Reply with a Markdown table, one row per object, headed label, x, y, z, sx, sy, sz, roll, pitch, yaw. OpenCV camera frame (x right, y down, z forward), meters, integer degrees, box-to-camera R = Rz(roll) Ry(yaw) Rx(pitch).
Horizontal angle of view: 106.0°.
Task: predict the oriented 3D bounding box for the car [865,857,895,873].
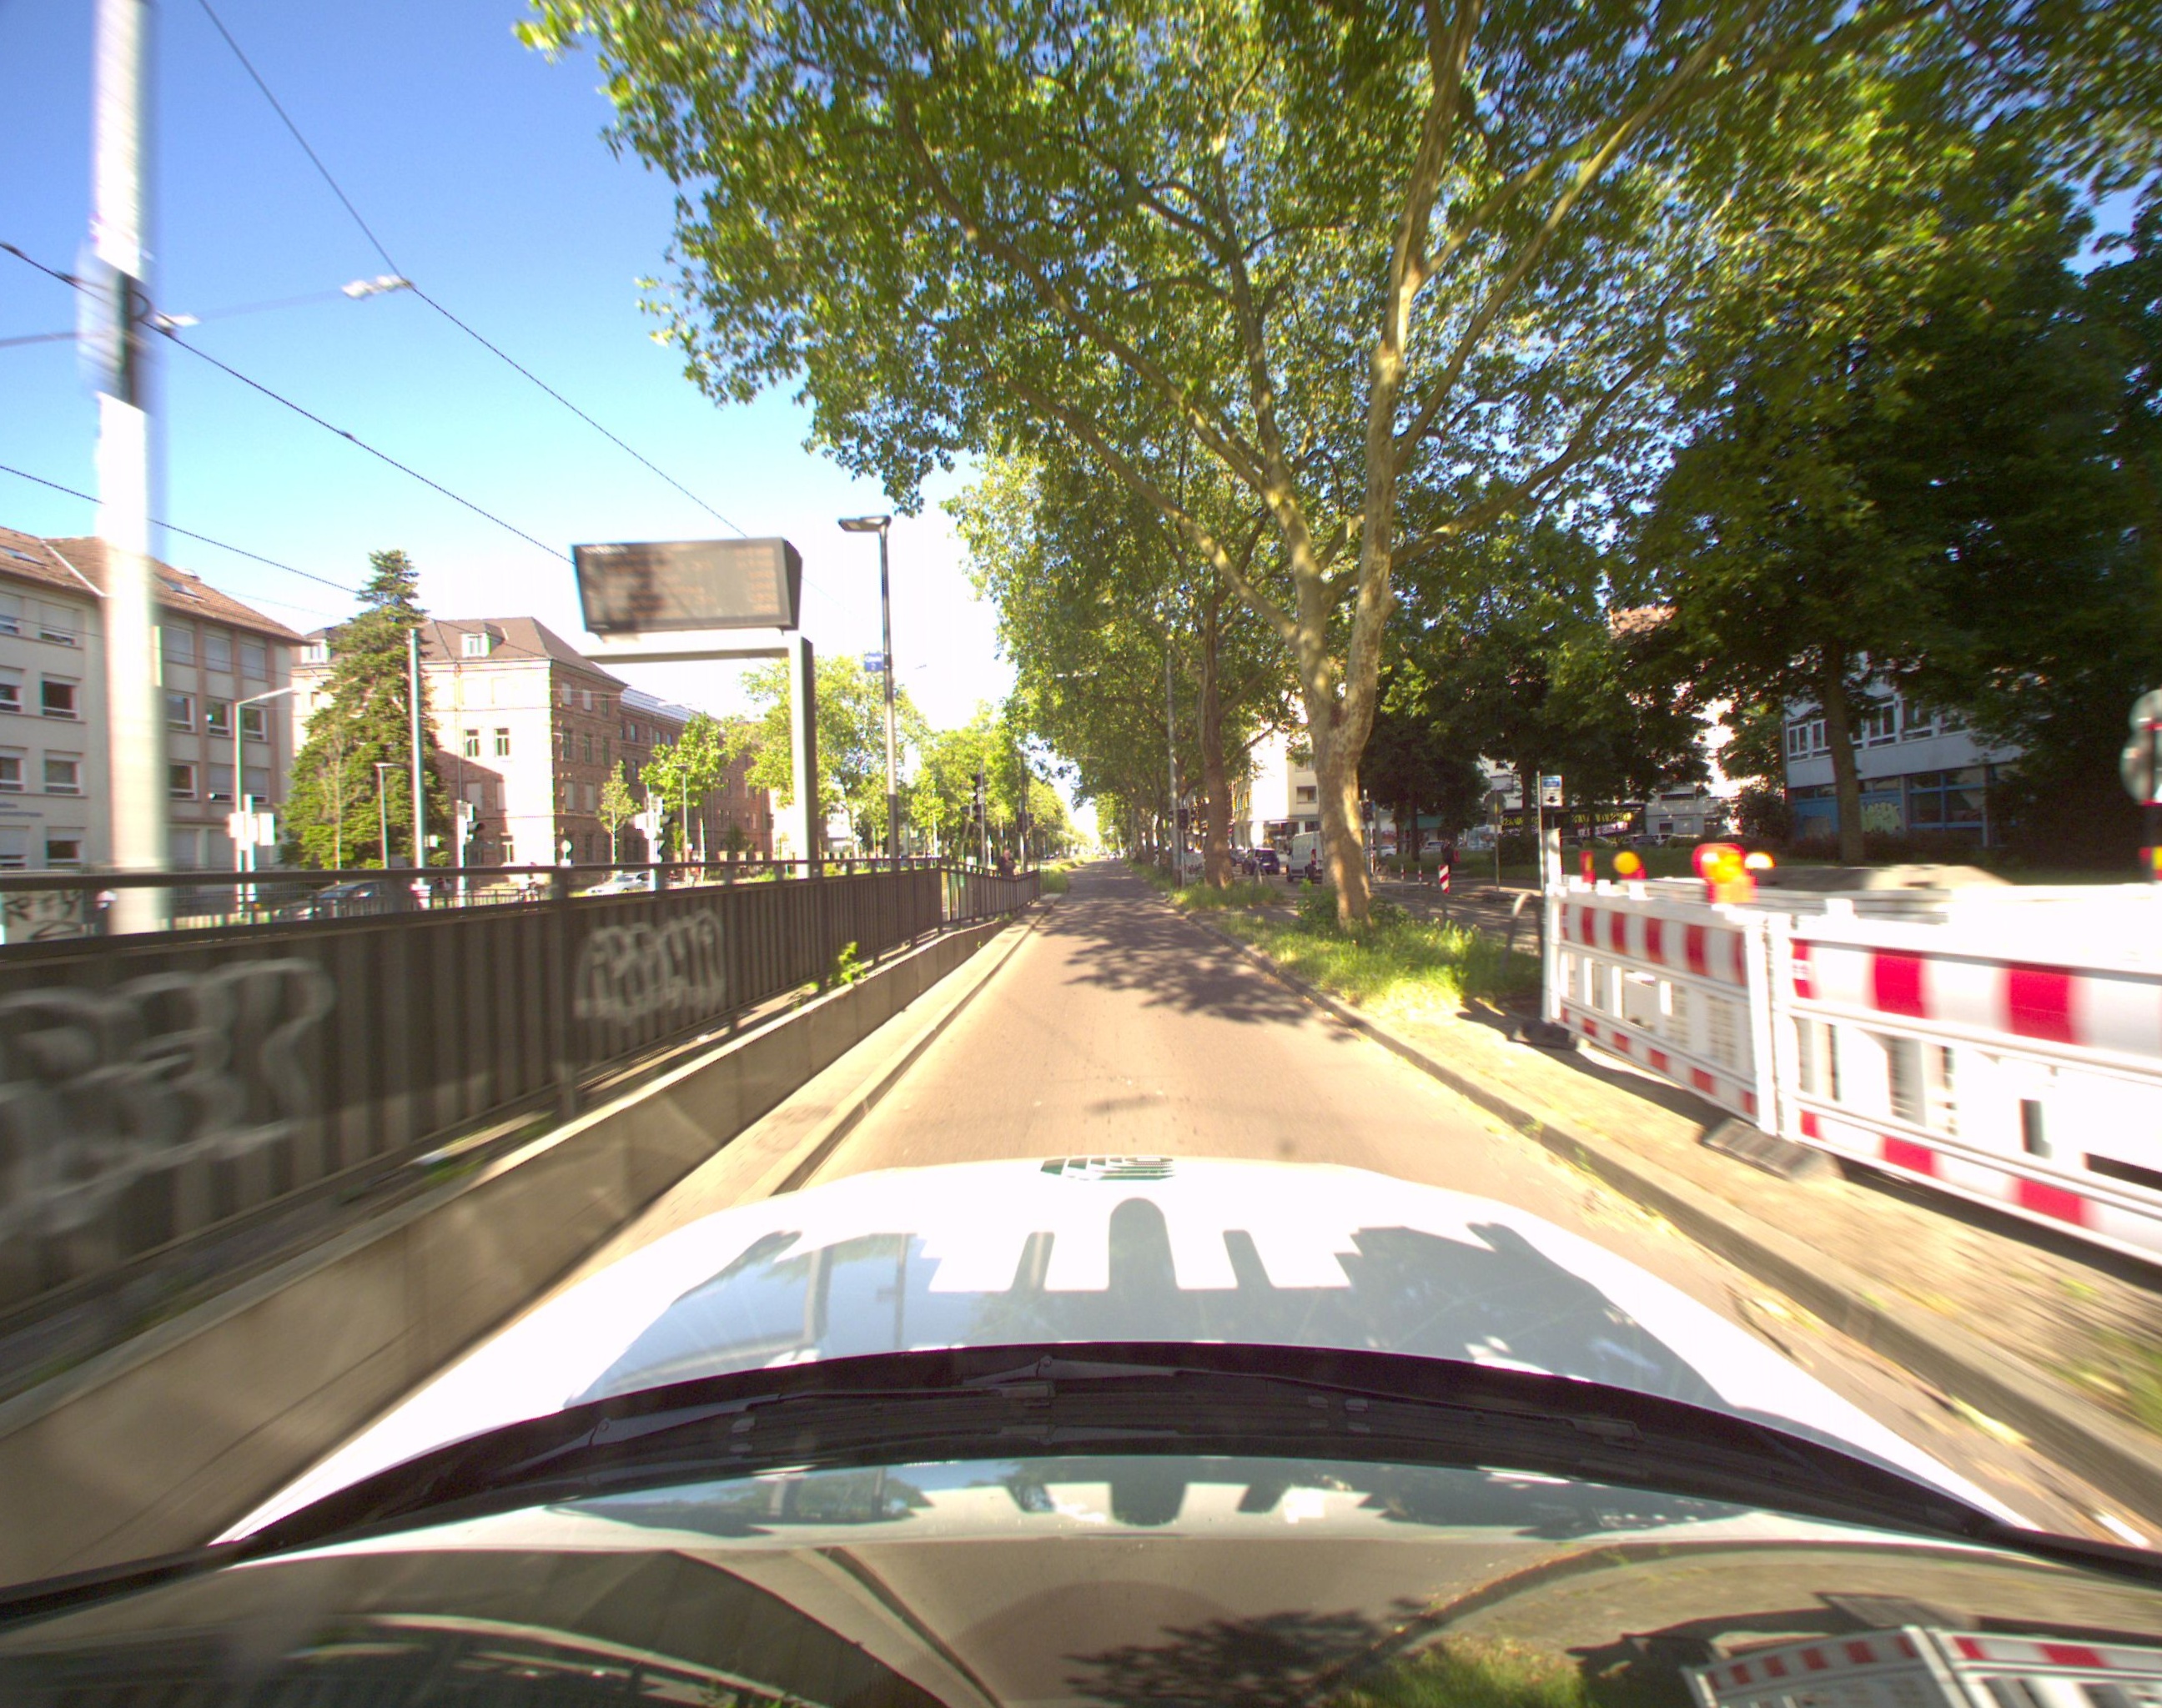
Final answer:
| label | x | y | z | sx | sy | sz | roll | pitch | yaw |
| --- | --- | --- | --- | --- | --- | --- | --- | --- | --- |
| car | -23.309 | 1.223 | 94.533 | 1.985 | 1.649 | 4.830 | -2 | 1 | 2 |

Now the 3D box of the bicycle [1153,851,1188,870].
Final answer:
| label | x | y | z | sx | sy | sz | roll | pitch | yaw |
| --- | --- | --- | --- | --- | --- | --- | --- | --- | --- |
| bicycle | 5.611 | 0.419 | 51.075 | 2.063 | 1.124 | 0.677 | -2 | 0 | 0 |

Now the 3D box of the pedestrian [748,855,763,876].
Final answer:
| label | x | y | z | sx | sy | sz | roll | pitch | yaw |
| --- | --- | --- | --- | --- | --- | --- | --- | --- | --- |
| pedestrian | -30.468 | 1.051 | 76.278 | 0.897 | 1.899 | 0.943 | -2 | 0 | 3 |

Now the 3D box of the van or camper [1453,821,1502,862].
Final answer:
| label | x | y | z | sx | sy | sz | roll | pitch | yaw |
| --- | --- | --- | --- | --- | --- | --- | --- | --- | --- |
| van or camper | 27.327 | -0.858 | 56.332 | 2.130 | 2.636 | 5.613 | -2 | 0 | 17 |

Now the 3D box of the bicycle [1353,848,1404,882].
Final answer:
| label | x | y | z | sx | sy | sz | roll | pitch | yaw |
| --- | --- | --- | --- | --- | --- | --- | --- | --- | --- |
| bicycle | 11.713 | 0.422 | 32.079 | 1.600 | 1.263 | 0.962 | -2 | 0 | -3 |

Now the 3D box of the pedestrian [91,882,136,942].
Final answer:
| label | x | y | z | sx | sy | sz | roll | pitch | yaw |
| --- | --- | --- | --- | --- | --- | --- | --- | --- | --- |
| pedestrian | -30.672 | 1.818 | 25.830 | 0.690 | 1.837 | 0.573 | -2 | 0 | 1 |

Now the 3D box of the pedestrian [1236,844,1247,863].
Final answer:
| label | x | y | z | sx | sy | sz | roll | pitch | yaw |
| --- | --- | --- | --- | --- | --- | --- | --- | --- | --- |
| pedestrian | 14.602 | -0.019 | 74.099 | 0.792 | 1.704 | 0.724 | -2 | 0 | 2 |

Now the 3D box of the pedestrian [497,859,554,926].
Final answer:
| label | x | y | z | sx | sy | sz | roll | pitch | yaw |
| --- | --- | --- | --- | --- | --- | --- | --- | --- | --- |
| pedestrian | -14.804 | 1.014 | 21.730 | 0.949 | 1.736 | 0.731 | -2 | 0 | 4 |

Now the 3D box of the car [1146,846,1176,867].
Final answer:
| label | x | y | z | sx | sy | sz | roll | pitch | yaw |
| --- | --- | --- | --- | --- | --- | --- | --- | --- | --- |
| car | 6.665 | 0.222 | 68.446 | 1.897 | 1.636 | 4.822 | -2 | 0 | -1 |

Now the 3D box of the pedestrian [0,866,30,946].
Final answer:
| label | x | y | z | sx | sy | sz | roll | pitch | yaw |
| --- | --- | --- | --- | --- | --- | --- | --- | --- | --- |
| pedestrian | -27.678 | 1.333 | 20.739 | 0.660 | 2.013 | 0.860 | -2 | 0 | 1 |

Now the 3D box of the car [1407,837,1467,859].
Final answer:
| label | x | y | z | sx | sy | sz | roll | pitch | yaw |
| --- | --- | --- | --- | --- | --- | --- | --- | --- | --- |
| car | 29.135 | -0.508 | 66.798 | 4.346 | 1.644 | 2.009 | -1 | 0 | 17 |

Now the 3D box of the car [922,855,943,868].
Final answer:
| label | x | y | z | sx | sy | sz | roll | pitch | yaw |
| --- | --- | --- | --- | --- | --- | --- | --- | --- | --- |
| car | -22.163 | 1.059 | 121.668 | 2.102 | 1.809 | 4.738 | -2 | 0 | 0 |

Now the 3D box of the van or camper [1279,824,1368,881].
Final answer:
| label | x | y | z | sx | sy | sz | roll | pitch | yaw |
| --- | --- | --- | --- | --- | --- | --- | --- | --- | --- |
| van or camper | 10.567 | -0.067 | 35.984 | 2.282 | 2.286 | 5.825 | -1 | 0 | 1 |

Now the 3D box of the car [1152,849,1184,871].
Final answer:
| label | x | y | z | sx | sy | sz | roll | pitch | yaw |
| --- | --- | --- | --- | --- | --- | --- | --- | --- | --- |
| car | 5.847 | 0.391 | 55.289 | 1.747 | 1.398 | 5.028 | -1 | 0 | 2 |

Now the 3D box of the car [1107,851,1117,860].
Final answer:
| label | x | y | z | sx | sy | sz | roll | pitch | yaw |
| --- | --- | --- | --- | --- | --- | --- | --- | --- | --- |
| car | 6.126 | 0.230 | 160.725 | 2.014 | 1.662 | 4.001 | -2 | 0 | 1 |

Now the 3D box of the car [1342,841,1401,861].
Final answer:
| label | x | y | z | sx | sy | sz | roll | pitch | yaw |
| --- | --- | --- | --- | --- | --- | --- | --- | --- | --- |
| car | 24.323 | -0.262 | 68.388 | 4.550 | 1.581 | 2.009 | -1 | 0 | 17 |

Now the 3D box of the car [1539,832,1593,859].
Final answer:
| label | x | y | z | sx | sy | sz | roll | pitch | yaw |
| --- | --- | --- | --- | --- | --- | --- | --- | --- | --- |
| car | 32.631 | -0.567 | 54.879 | 1.978 | 1.669 | 4.766 | -2 | 0 | 17 |

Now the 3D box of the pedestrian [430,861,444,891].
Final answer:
| label | x | y | z | sx | sy | sz | roll | pitch | yaw |
| --- | --- | --- | --- | --- | --- | --- | --- | --- | --- |
| pedestrian | -36.994 | 1.248 | 46.756 | 0.373 | 1.695 | 0.450 | -2 | 0 | 8 |

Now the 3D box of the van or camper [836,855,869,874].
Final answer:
| label | x | y | z | sx | sy | sz | roll | pitch | yaw |
| --- | --- | --- | --- | --- | --- | --- | --- | --- | --- |
| van or camper | -23.478 | 1.042 | 83.857 | 1.987 | 1.787 | 4.431 | -2 | 0 | 0 |

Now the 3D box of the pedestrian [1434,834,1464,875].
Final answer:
| label | x | y | z | sx | sy | sz | roll | pitch | yaw |
| --- | --- | --- | --- | --- | --- | --- | --- | --- | --- |
| pedestrian | 14.858 | 0.023 | 32.865 | 0.729 | 1.616 | 1.036 | -2 | 0 | 2 |

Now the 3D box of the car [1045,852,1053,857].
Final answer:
| label | x | y | z | sx | sy | sz | roll | pitch | yaw |
| --- | --- | --- | --- | --- | --- | --- | --- | --- | --- |
| car | -9.285 | 0.110 | 238.715 | 1.788 | 1.508 | 4.342 | -4 | 0 | 3 |

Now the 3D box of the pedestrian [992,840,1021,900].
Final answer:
| label | x | y | z | sx | sy | sz | roll | pitch | yaw |
| --- | --- | --- | --- | --- | --- | --- | --- | --- | --- |
| pedestrian | -2.147 | 0.459 | 23.616 | 0.709 | 1.680 | 0.772 | -2 | 0 | 0 |

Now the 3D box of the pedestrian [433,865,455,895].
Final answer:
| label | x | y | z | sx | sy | sz | roll | pitch | yaw |
| --- | --- | --- | --- | --- | --- | --- | --- | --- | --- |
| pedestrian | -37.083 | 1.493 | 47.423 | 0.682 | 1.695 | 0.820 | -2 | 0 | -17 |

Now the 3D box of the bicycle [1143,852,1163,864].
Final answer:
| label | x | y | z | sx | sy | sz | roll | pitch | yaw |
| --- | --- | --- | --- | --- | --- | --- | --- | --- | --- |
| bicycle | 6.401 | 0.352 | 72.351 | 1.773 | 0.928 | 0.646 | -2 | 0 | -39 |

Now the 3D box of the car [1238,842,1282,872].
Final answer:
| label | x | y | z | sx | sy | sz | roll | pitch | yaw |
| --- | --- | --- | --- | --- | --- | --- | --- | --- | --- |
| car | 11.262 | 0.184 | 51.517 | 1.812 | 1.742 | 5.170 | -2 | 0 | 2 |

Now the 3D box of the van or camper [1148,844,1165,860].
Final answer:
| label | x | y | z | sx | sy | sz | roll | pitch | yaw |
| --- | --- | --- | --- | --- | --- | --- | --- | --- | --- |
| van or camper | 9.969 | -0.257 | 108.220 | 1.827 | 2.098 | 4.774 | 1 | 0 | 0 |

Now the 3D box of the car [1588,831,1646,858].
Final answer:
| label | x | y | z | sx | sy | sz | roll | pitch | yaw |
| --- | --- | --- | --- | --- | --- | --- | --- | --- | --- |
| car | 35.555 | -0.618 | 54.167 | 1.978 | 1.628 | 4.409 | -2 | 0 | 17 |

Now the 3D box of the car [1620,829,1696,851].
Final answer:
| label | x | y | z | sx | sy | sz | roll | pitch | yaw |
| --- | --- | --- | --- | --- | --- | --- | --- | --- | --- |
| car | 44.154 | -1.075 | 62.450 | 4.346 | 1.536 | 2.009 | -1 | 0 | 17 |

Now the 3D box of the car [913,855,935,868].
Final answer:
| label | x | y | z | sx | sy | sz | roll | pitch | yaw |
| --- | --- | --- | --- | --- | --- | --- | --- | --- | --- |
| car | -22.359 | 1.038 | 116.252 | 2.101 | 1.809 | 4.739 | -2 | 0 | 1 |

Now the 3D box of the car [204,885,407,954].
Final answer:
| label | x | y | z | sx | sy | sz | roll | pitch | yaw |
| --- | --- | --- | --- | --- | --- | --- | --- | --- | --- |
| car | -23.505 | 1.915 | 24.944 | 1.984 | 1.707 | 4.156 | -2 | 0 | 5 |

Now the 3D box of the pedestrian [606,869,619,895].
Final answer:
| label | x | y | z | sx | sy | sz | roll | pitch | yaw |
| --- | --- | --- | --- | --- | --- | --- | --- | --- | --- |
| pedestrian | -32.506 | 1.935 | 56.529 | 0.684 | 1.695 | 0.877 | -2 | 0 | -27 |

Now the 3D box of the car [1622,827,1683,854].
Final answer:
| label | x | y | z | sx | sy | sz | roll | pitch | yaw |
| --- | --- | --- | --- | --- | --- | --- | --- | --- | --- |
| car | 37.518 | -0.875 | 53.597 | 1.978 | 1.628 | 4.409 | -2 | 0 | 17 |

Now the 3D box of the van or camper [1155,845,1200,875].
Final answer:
| label | x | y | z | sx | sy | sz | roll | pitch | yaw |
| --- | --- | --- | --- | --- | --- | --- | --- | --- | --- |
| van or camper | 5.264 | 0.320 | 44.748 | 1.503 | 1.588 | 2.825 | -2 | 0 | -15 |

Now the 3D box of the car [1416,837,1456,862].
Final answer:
| label | x | y | z | sx | sy | sz | roll | pitch | yaw |
| --- | --- | --- | --- | --- | --- | --- | --- | --- | --- |
| car | 24.807 | -0.340 | 57.048 | 1.978 | 1.628 | 4.409 | -2 | 0 | 17 |

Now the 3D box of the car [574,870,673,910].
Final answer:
| label | x | y | z | sx | sy | sz | roll | pitch | yaw |
| --- | --- | --- | --- | --- | --- | --- | --- | --- | --- |
| car | -21.866 | 1.672 | 39.165 | 1.755 | 1.622 | 4.485 | -2 | 0 | 8 |

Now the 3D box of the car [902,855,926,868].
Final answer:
| label | x | y | z | sx | sy | sz | roll | pitch | yaw |
| --- | --- | --- | --- | --- | --- | --- | --- | --- | --- |
| car | -22.653 | 0.961 | 110.678 | 1.983 | 1.615 | 4.428 | -2 | 0 | 6 |
